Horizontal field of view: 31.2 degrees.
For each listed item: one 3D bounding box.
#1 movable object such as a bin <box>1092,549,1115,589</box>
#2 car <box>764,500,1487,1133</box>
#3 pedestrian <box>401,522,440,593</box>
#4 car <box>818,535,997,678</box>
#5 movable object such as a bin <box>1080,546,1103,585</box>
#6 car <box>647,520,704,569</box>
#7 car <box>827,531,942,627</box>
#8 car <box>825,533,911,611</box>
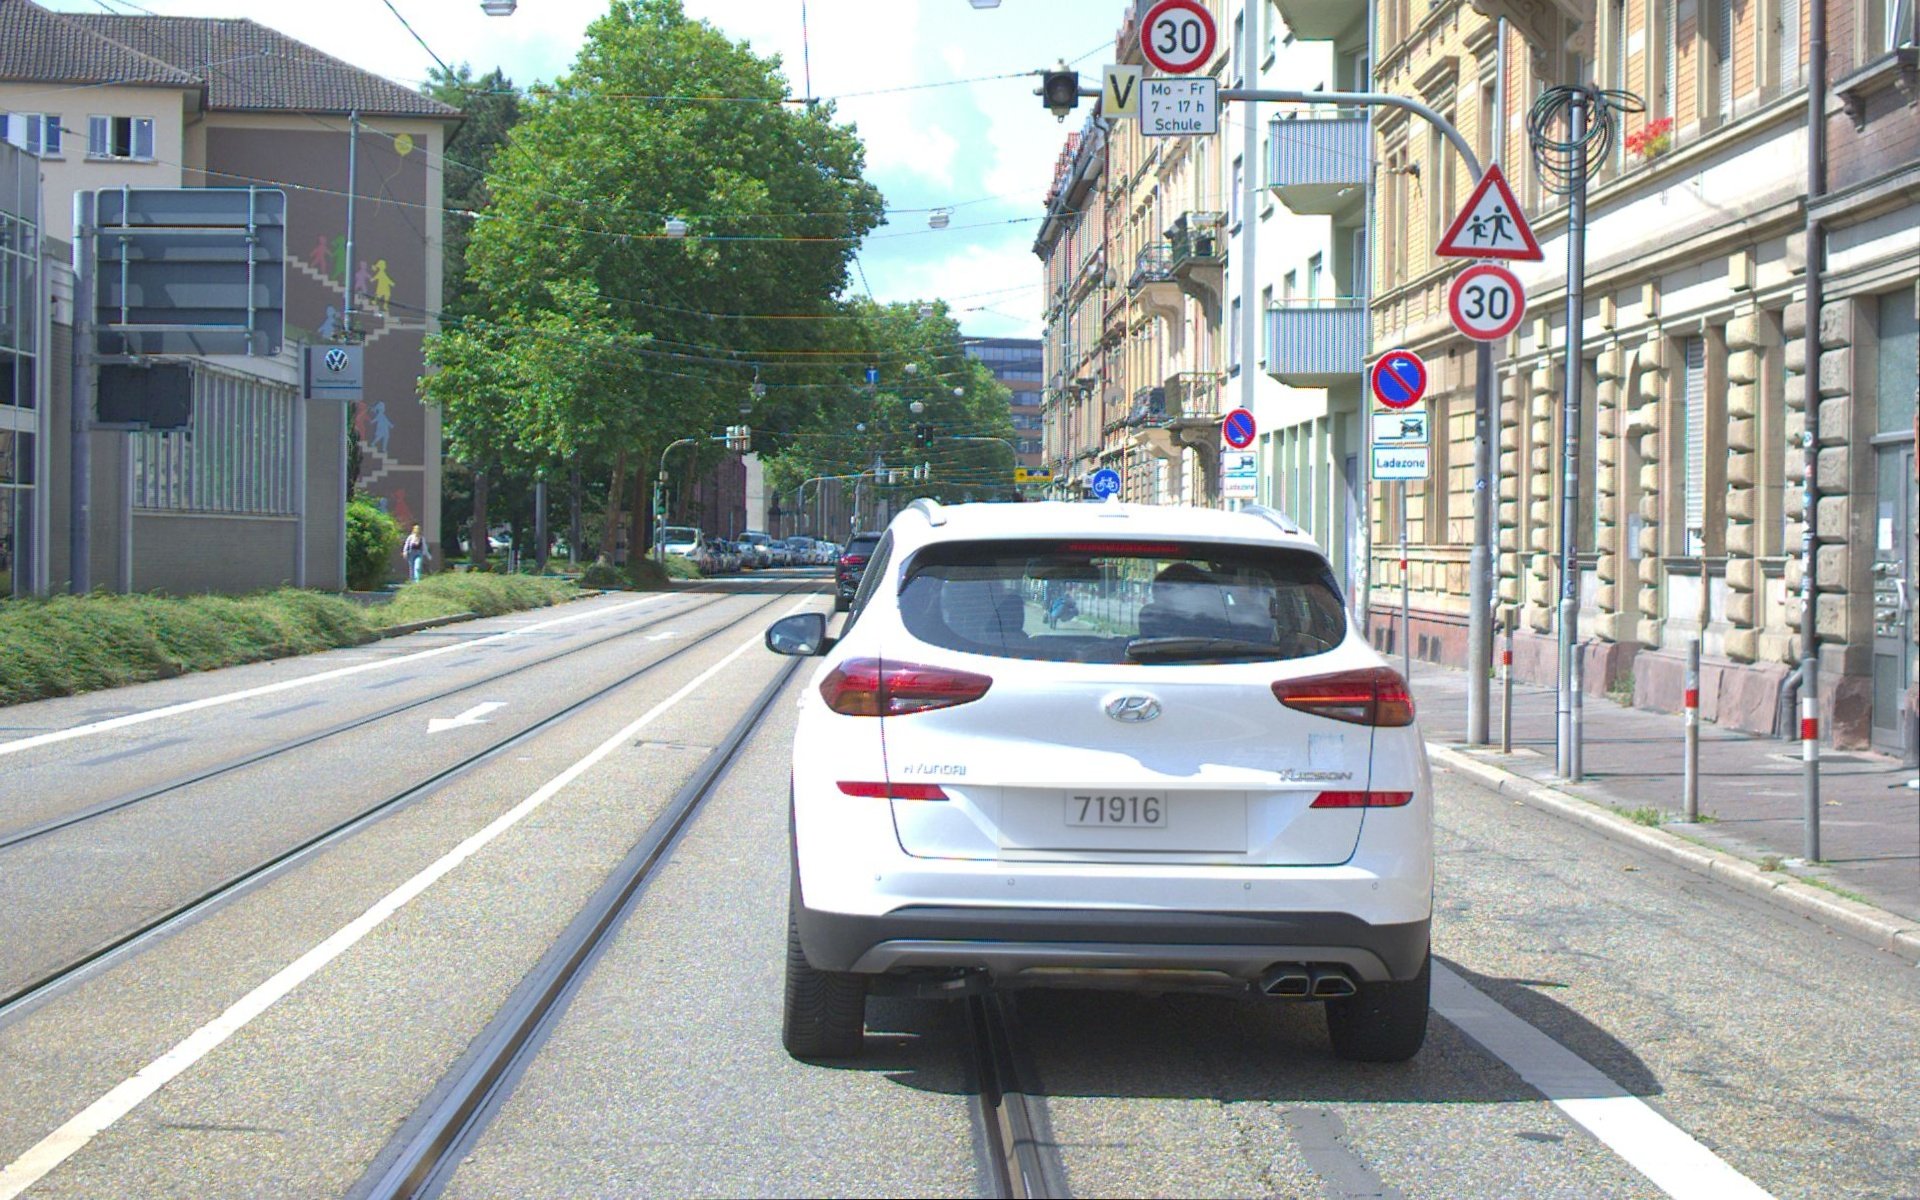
[{"bbox_3d":[4.248,-0.919,101.936,0.612,1.139,0.638,2,1,-1],"label":"movable object such as a bin"},{"bbox_3d":[0.324,0.536,11.202,1.852,1.628,4.181,2,1,-4],"label":"car"},{"bbox_3d":[-14.364,-1.135,91.601,0.880,1.859,1.081,0,1,-1],"label":"pedestrian"},{"bbox_3d":[-0.542,0.036,38.908,1.814,1.519,4.085,1,1,2],"label":"car"},{"bbox_3d":[3.957,-1.039,103.362,0.612,1.139,0.638,2,1,-1],"label":"movable object such as a bin"},{"bbox_3d":[-11.393,-2.235,137.795,1.950,1.888,4.566,2,1,-1],"label":"car"},{"bbox_3d":[-1.243,-0.377,56.746,1.814,1.519,3.956,0,1,-1],"label":"car"},{"bbox_3d":[-2.018,-0.635,75.947,1.814,1.656,4.085,1,1,-1],"label":"car"}]
